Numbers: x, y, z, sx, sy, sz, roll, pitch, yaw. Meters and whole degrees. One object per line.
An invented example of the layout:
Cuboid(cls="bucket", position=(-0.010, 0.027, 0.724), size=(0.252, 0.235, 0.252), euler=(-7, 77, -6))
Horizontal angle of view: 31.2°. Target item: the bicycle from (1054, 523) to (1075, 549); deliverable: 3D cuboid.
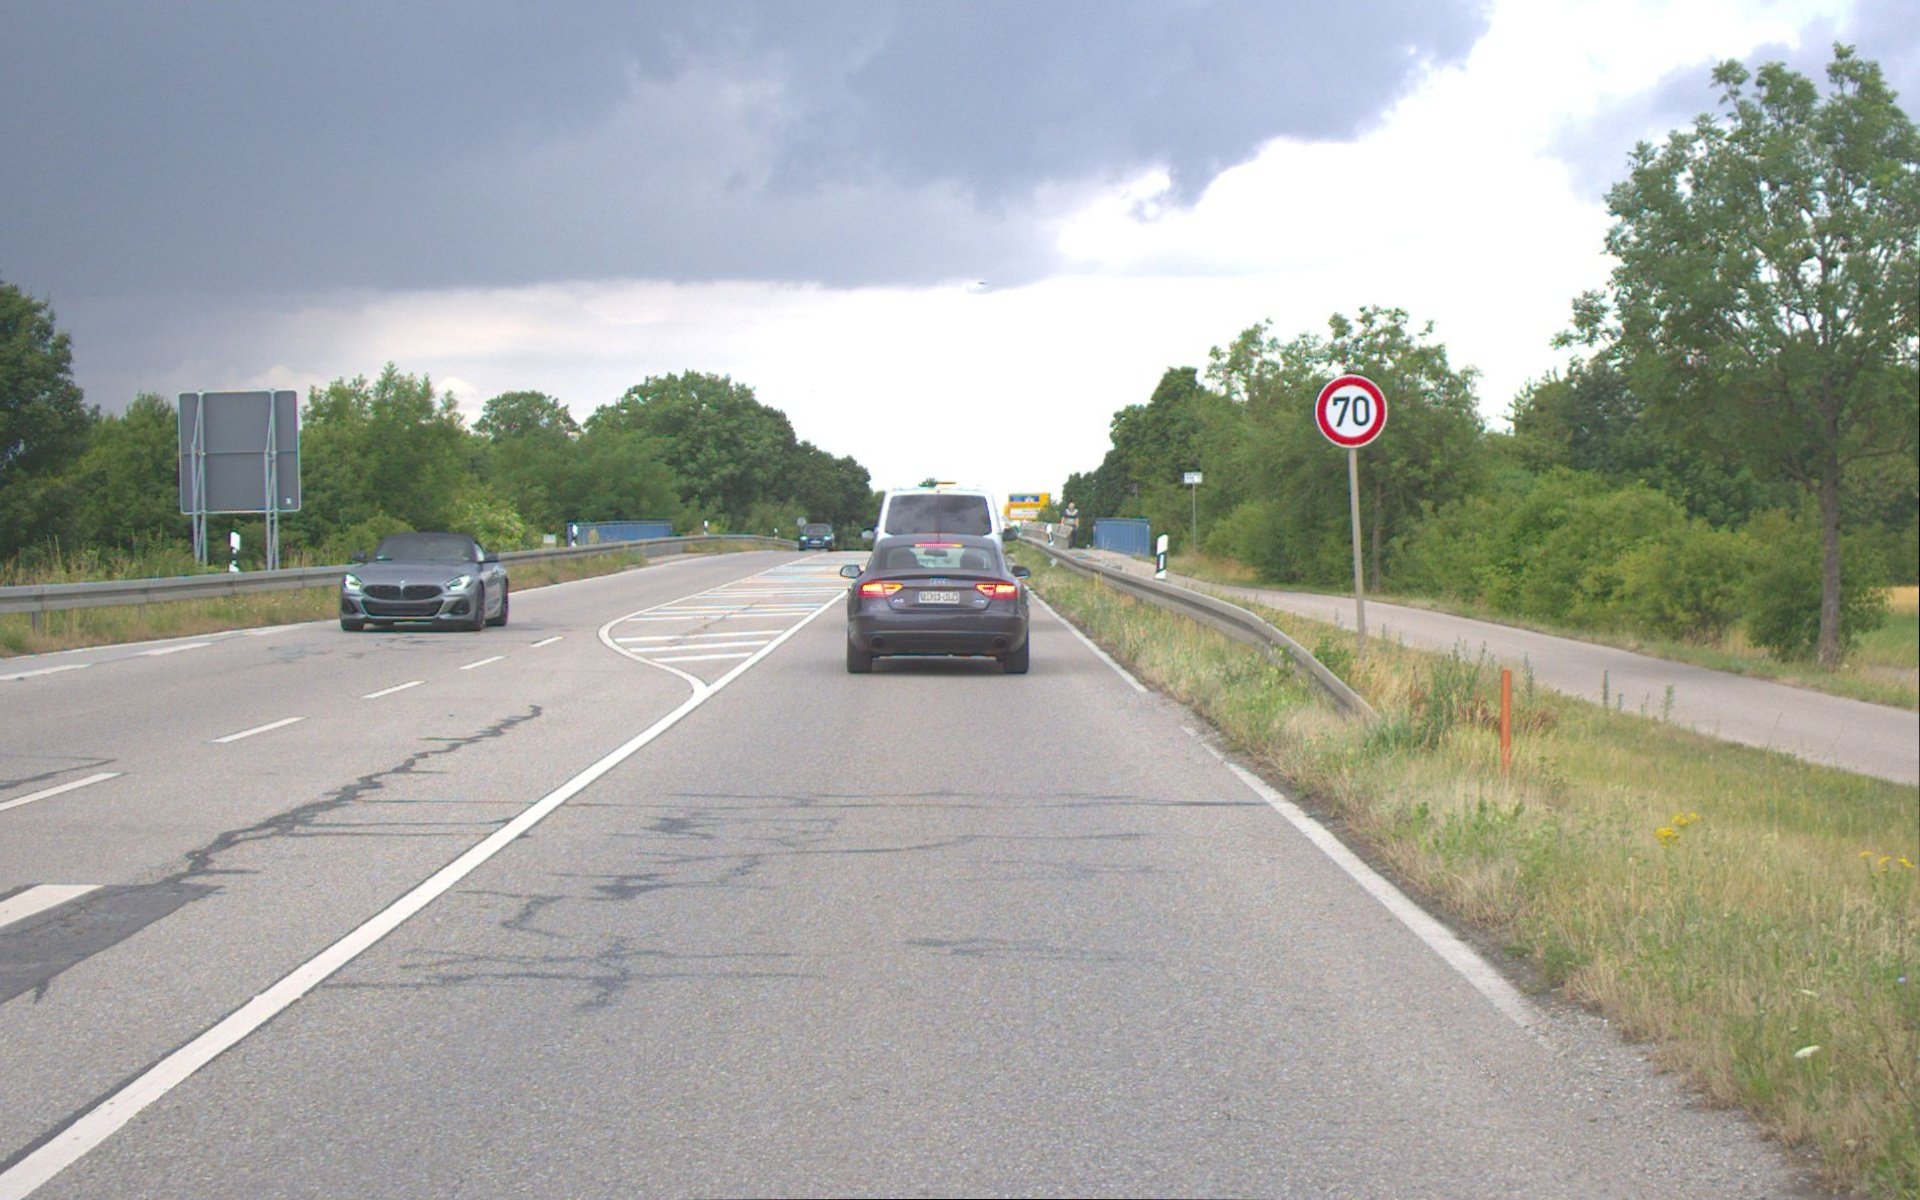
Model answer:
Cuboid(cls="bicycle", position=(3.708, -2.278, 121.802), size=(0.666, 0.917, 1.830), euler=(0, 1, 0))

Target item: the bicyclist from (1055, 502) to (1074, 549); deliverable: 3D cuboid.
Cuboid(cls="bicyclist", position=(3.708, -2.634, 121.866), size=(0.647, 1.639, 0.866), euler=(0, 1, 0))

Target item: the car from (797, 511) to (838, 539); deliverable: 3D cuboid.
Cuboid(cls="car", position=(-7.290, -3.836, 176.449), size=(1.862, 1.371, 4.000), euler=(2, 1, 0))

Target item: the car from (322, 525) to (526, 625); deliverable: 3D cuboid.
Cuboid(cls="car", position=(-7.237, -0.376, 46.817), size=(2.164, 1.280, 4.238), euler=(0, 1, -1))

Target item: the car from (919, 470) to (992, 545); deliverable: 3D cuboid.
Cuboid(cls="car", position=(-0.138, -3.187, 118.021), size=(2.447, 2.495, 5.041), euler=(1, 2, 0))

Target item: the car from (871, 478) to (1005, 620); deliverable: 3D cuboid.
Cuboid(cls="car", position=(-0.303, -0.718, 48.340), size=(1.786, 1.883, 4.000), euler=(1, 1, 0))

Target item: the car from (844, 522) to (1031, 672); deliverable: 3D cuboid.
Cuboid(cls="car", position=(-0.226, -0.062, 35.266), size=(1.786, 1.419, 4.000), euler=(1, 1, 0))
